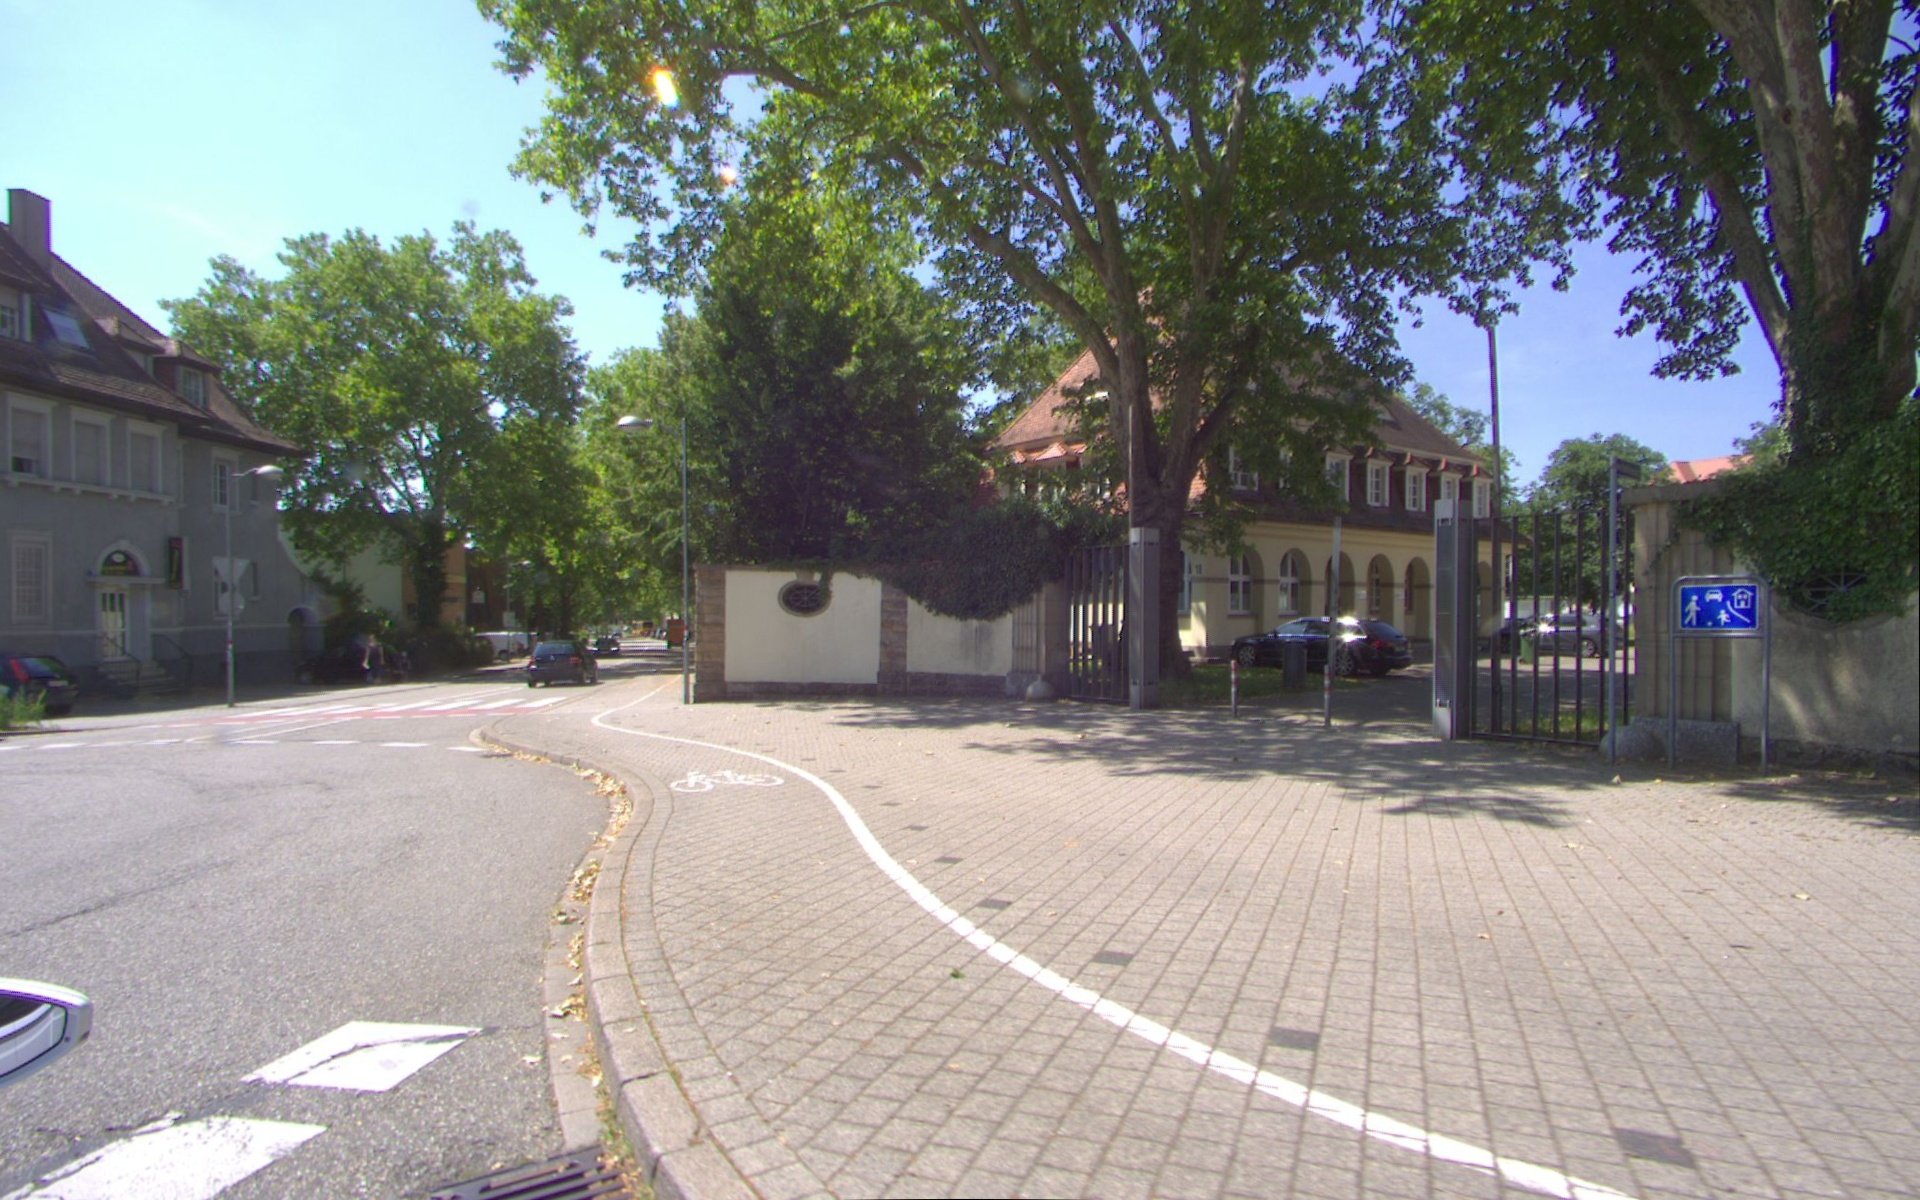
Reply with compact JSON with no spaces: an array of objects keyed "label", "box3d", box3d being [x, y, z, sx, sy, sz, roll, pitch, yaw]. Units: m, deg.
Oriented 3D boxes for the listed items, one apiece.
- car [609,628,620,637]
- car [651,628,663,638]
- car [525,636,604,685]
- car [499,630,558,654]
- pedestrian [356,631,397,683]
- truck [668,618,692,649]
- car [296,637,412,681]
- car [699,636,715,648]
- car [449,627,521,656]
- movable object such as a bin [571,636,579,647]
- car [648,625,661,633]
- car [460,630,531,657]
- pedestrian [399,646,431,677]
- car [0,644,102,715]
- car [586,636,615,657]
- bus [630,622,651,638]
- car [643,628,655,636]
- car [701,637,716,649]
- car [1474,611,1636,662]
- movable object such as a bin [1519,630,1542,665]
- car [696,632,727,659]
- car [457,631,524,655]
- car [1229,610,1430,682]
[{"label":"car","box3d":[-66.811,6.261,193.463,1.966,1.687,3.994,0,-3,-19]},{"label":"car","box3d":[-52.465,5.714,173.454,1.853,1.706,3.994,0,-3,-18]},{"label":"car","box3d":[-12.905,1.930,32.907,1.684,1.466,4.056,0,-1,-11]},{"label":"car","box3d":[-34.536,3.397,80.213,4.069,1.827,1.900,2,-2,-16]},{"label":"pedestrian","box3d":[-20.234,1.964,34.728,0.858,1.764,1.112,-1,-1,-7]},{"label":"truck","box3d":[-30.193,3.622,108.198,2.335,3.172,5.766,0,-3,-14]},{"label":"car","box3d":[-22.771,2.186,37.719,3.326,1.566,1.724,-1,-1,-3]},{"label":"car","box3d":[-33.236,5.496,131.353,1.741,1.392,3.723,-1,-1,-18]},{"label":"car","box3d":[-31.061,2.746,65.597,3.929,1.815,1.866,2,-2,-16]},{"label":"movable object such as a bin","box3d":[-37.737,4.108,98.234,0.614,1.062,0.620,0,-1,-7]},{"label":"car","box3d":[-56.347,5.436,184.685,1.745,1.392,3.716,-1,-1,-26]},{"label":"car","box3d":[-33.483,3.114,72.270,4.359,1.827,1.900,2,-2,-17]},{"label":"pedestrian","box3d":[-20.712,2.341,38.068,0.742,1.136,0.897,-1,-1,-4]},{"label":"car","box3d":[-21.460,1.745,21.970,3.719,1.479,1.724,-1,-1,-3]},{"label":"car","box3d":[-26.011,3.327,72.538,1.743,1.444,4.386,-1,-2,-17]},{"label":"bus","box3d":[-65.842,6.221,206.123,2.631,3.190,11.157,0,-2,-26]},{"label":"car","box3d":[-59.655,6.138,191.953,1.744,1.392,3.716,-1,-1,-26]},{"label":"car","box3d":[-31.115,5.301,123.744,1.740,1.484,3.871,-2,-1,-15]},{"label":"car","box3d":[20.848,1.218,35.249,1.976,1.422,4.465,0,3,-37]},{"label":"movable object such as a bin","box3d":[17.179,1.427,30.156,0.529,1.021,0.526,-1,-1,22]},{"label":"car","box3d":[-16.022,2.907,64.704,1.714,1.577,4.776,-2,-1,-12]},{"label":"car","box3d":[-32.651,2.985,69.779,3.929,1.534,1.866,2,-2,-16]},{"label":"car","box3d":[9.396,1.096,25.774,1.976,1.422,4.465,0,3,-37]}]
